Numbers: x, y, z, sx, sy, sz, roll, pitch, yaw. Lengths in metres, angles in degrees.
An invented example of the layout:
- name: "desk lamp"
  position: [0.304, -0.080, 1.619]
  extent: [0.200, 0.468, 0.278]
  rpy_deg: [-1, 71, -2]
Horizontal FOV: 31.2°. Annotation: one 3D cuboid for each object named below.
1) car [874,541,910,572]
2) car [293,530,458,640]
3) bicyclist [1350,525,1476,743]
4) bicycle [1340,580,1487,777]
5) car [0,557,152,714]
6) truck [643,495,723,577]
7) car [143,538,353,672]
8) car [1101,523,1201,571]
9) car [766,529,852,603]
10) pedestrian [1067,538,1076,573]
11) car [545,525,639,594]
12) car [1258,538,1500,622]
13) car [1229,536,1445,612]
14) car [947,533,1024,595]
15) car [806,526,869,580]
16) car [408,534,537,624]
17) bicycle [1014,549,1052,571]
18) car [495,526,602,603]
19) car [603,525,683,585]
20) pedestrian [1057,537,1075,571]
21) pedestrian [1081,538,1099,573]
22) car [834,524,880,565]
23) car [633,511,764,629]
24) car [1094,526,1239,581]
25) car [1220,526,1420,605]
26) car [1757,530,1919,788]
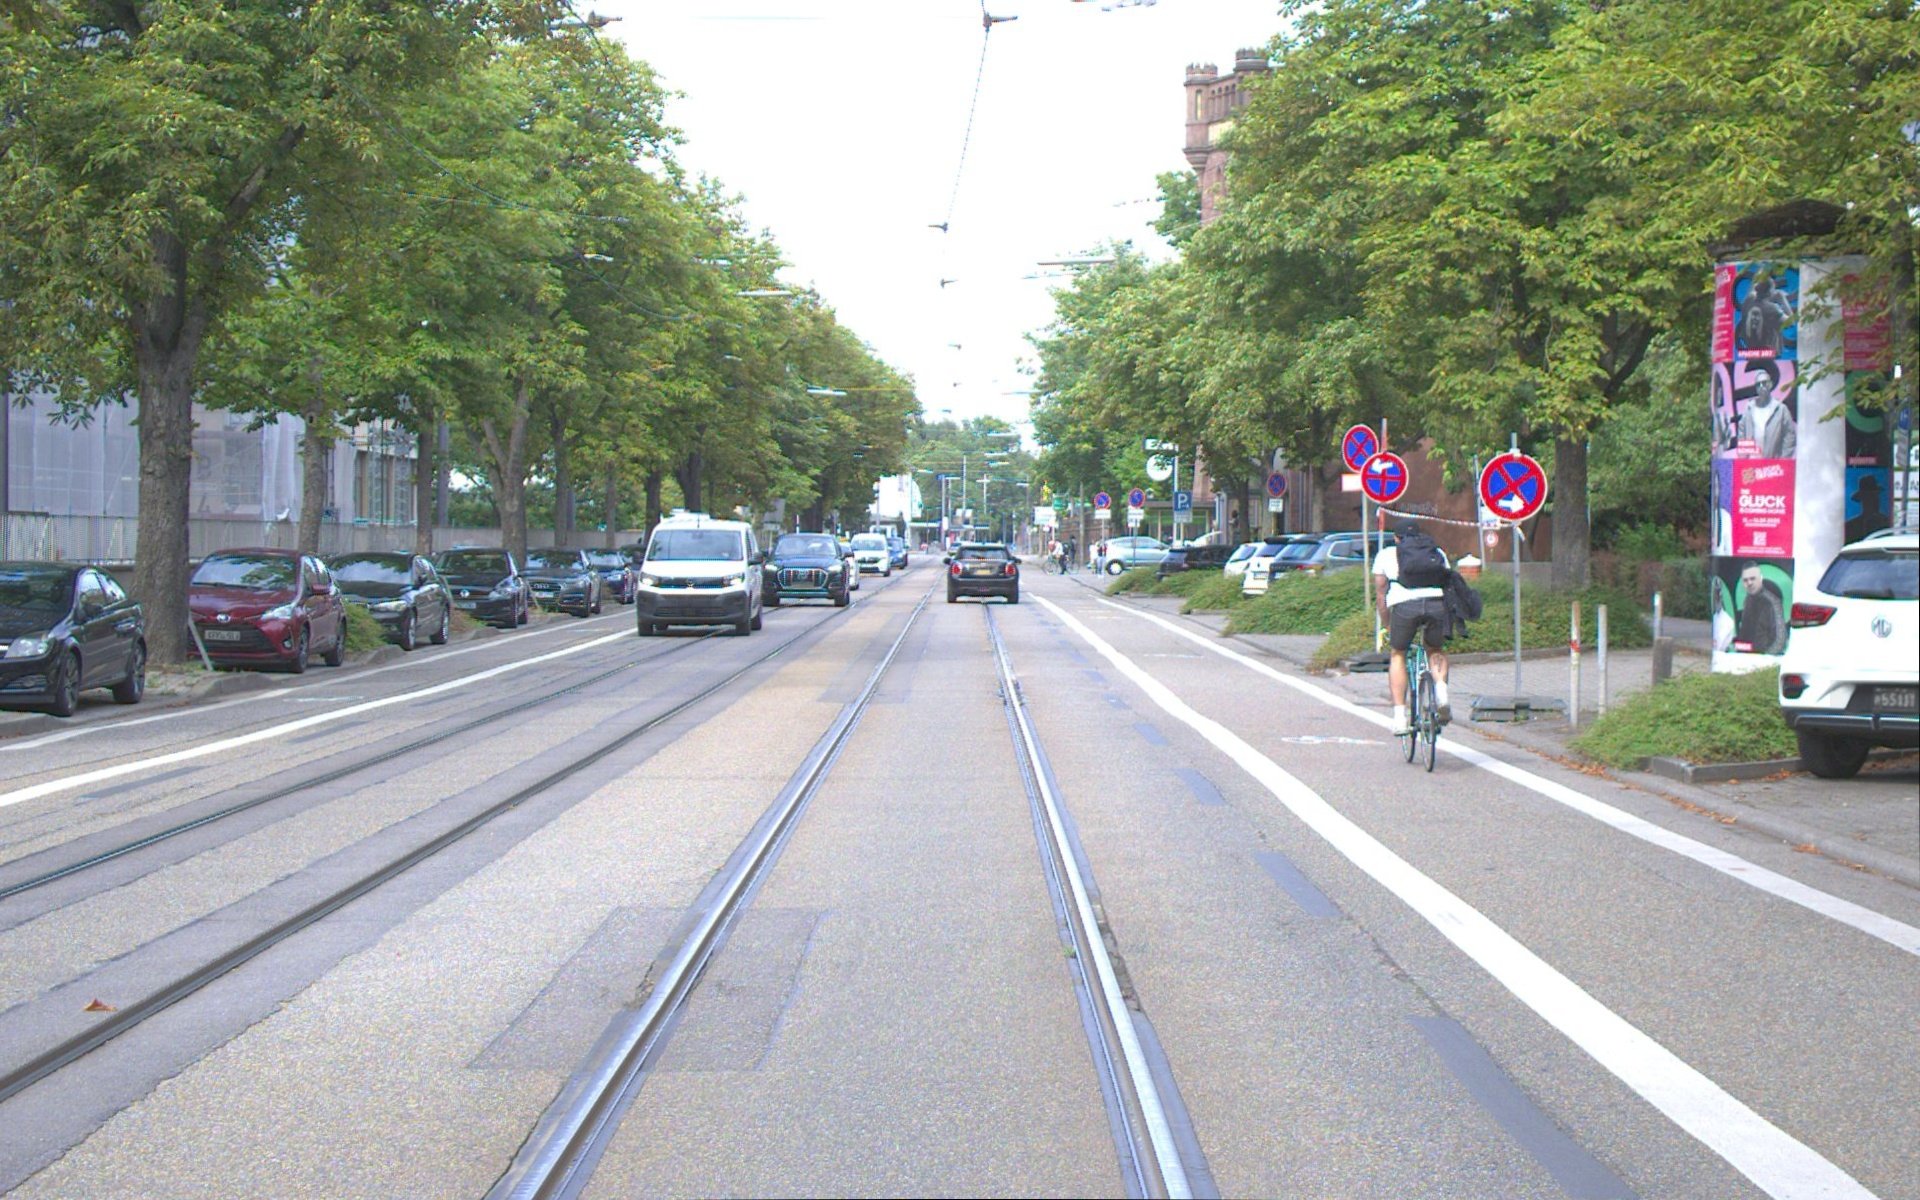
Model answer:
- name: "car"
  position: [-3.574, -2.303, 181.170]
  extent: [1.802, 1.616, 4.485]
  rpy_deg: [-1, 1, -1]
- name: "car"
  position: [-8.752, -0.257, 51.758]
  extent: [1.802, 1.578, 4.031]
  rpy_deg: [-1, 1, -1]
- name: "bicyclist"
  position: [3.124, 0.217, 23.772]
  extent: [0.657, 1.458, 1.179]
  rpy_deg: [1, 1, -1]
- name: "bicycle"
  position: [3.111, 0.514, 23.747]
  extent: [0.657, 1.244, 2.125]
  rpy_deg: [1, 1, -1]
- name: "car"
  position: [-9.009, 0.299, 32.501]
  extent: [1.802, 1.369, 4.031]
  rpy_deg: [-1, 1, -1]
- name: "truck"
  position: [-8.524, -1.965, 106.135]
  extent: [2.071, 2.462, 4.899]
  rpy_deg: [-1, 1, -1]
- name: "car"
  position: [-8.818, 0.027, 42.890]
  extent: [1.802, 1.578, 4.031]
  rpy_deg: [-1, 1, -1]
- name: "car"
  position: [8.049, -2.227, 145.150]
  extent: [3.986, 1.904, 2.000]
  rpy_deg: [1, 1, -2]
- name: "car"
  position: [-3.405, -0.783, 78.157]
  extent: [1.802, 1.616, 4.485]
  rpy_deg: [-1, 1, -1]
- name: "pedestrian"
  position: [6.573, -2.615, 202.638]
  extent: [0.518, 2.007, 0.480]
  rpy_deg: [1, 1, 4]
- name: "car"
  position: [-8.692, -0.970, 81.486]
  extent: [1.802, 1.578, 4.031]
  rpy_deg: [-1, 1, -1]
- name: "car"
  position: [7.402, -0.360, 61.045]
  extent: [3.986, 1.420, 1.885]
  rpy_deg: [1, 1, -3]
- name: "car"
  position: [7.420, -0.524, 67.945]
  extent: [3.986, 1.420, 1.885]
  rpy_deg: [1, 1, -3]
- name: "car"
  position: [0.596, -0.889, 83.313]
  extent: [1.793, 1.418, 4.000]
  rpy_deg: [1, 1, 0]
- name: "car"
  position: [-3.755, -1.451, 106.242]
  extent: [1.802, 1.616, 4.485]
  rpy_deg: [-1, 1, -1]
- name: "car"
  position: [-8.820, -0.409, 62.492]
  extent: [1.802, 1.578, 4.031]
  rpy_deg: [-1, 1, -1]
- name: "bicycle"
  position: [3.558, -1.940, 167.191]
  extent: [1.721, 0.988, 0.658]
  rpy_deg: [2, 1, 9]
- name: "car"
  position: [-8.676, -0.767, 72.724]
  extent: [1.802, 1.578, 4.031]
  rpy_deg: [-1, 1, -1]
- name: "car"
  position: [-8.568, -1.239, 93.086]
  extent: [1.802, 1.578, 4.031]
  rpy_deg: [-1, 1, -1]
- name: "pedestrian"
  position: [5.164, -2.219, 167.082]
  extent: [0.726, 1.640, 0.766]
  rpy_deg: [2, 1, 10]
- name: "pedestrian"
  position: [6.274, -2.152, 165.332]
  extent: [0.726, 1.640, 0.766]
  rpy_deg: [2, 1, 10]
- name: "car"
  position: [-4.224, -2.290, 141.688]
  extent: [1.802, 1.616, 4.485]
  rpy_deg: [-1, 1, -1]
- name: "car"
  position: [-4.183, -0.512, 55.587]
  extent: [1.802, 1.817, 4.485]
  rpy_deg: [-1, 1, -1]
- name: "car"
  position: [5.932, -1.343, 98.987]
  extent: [3.986, 1.503, 1.885]
  rpy_deg: [1, 1, -3]
- name: "car"
  position: [7.664, -0.748, 73.345]
  extent: [3.986, 1.622, 1.885]
  rpy_deg: [1, 1, -3]
- name: "car"
  position: [6.936, 0.347, 22.438]
  extent: [3.437, 1.567, 1.560]
  rpy_deg: [0, 1, -38]
